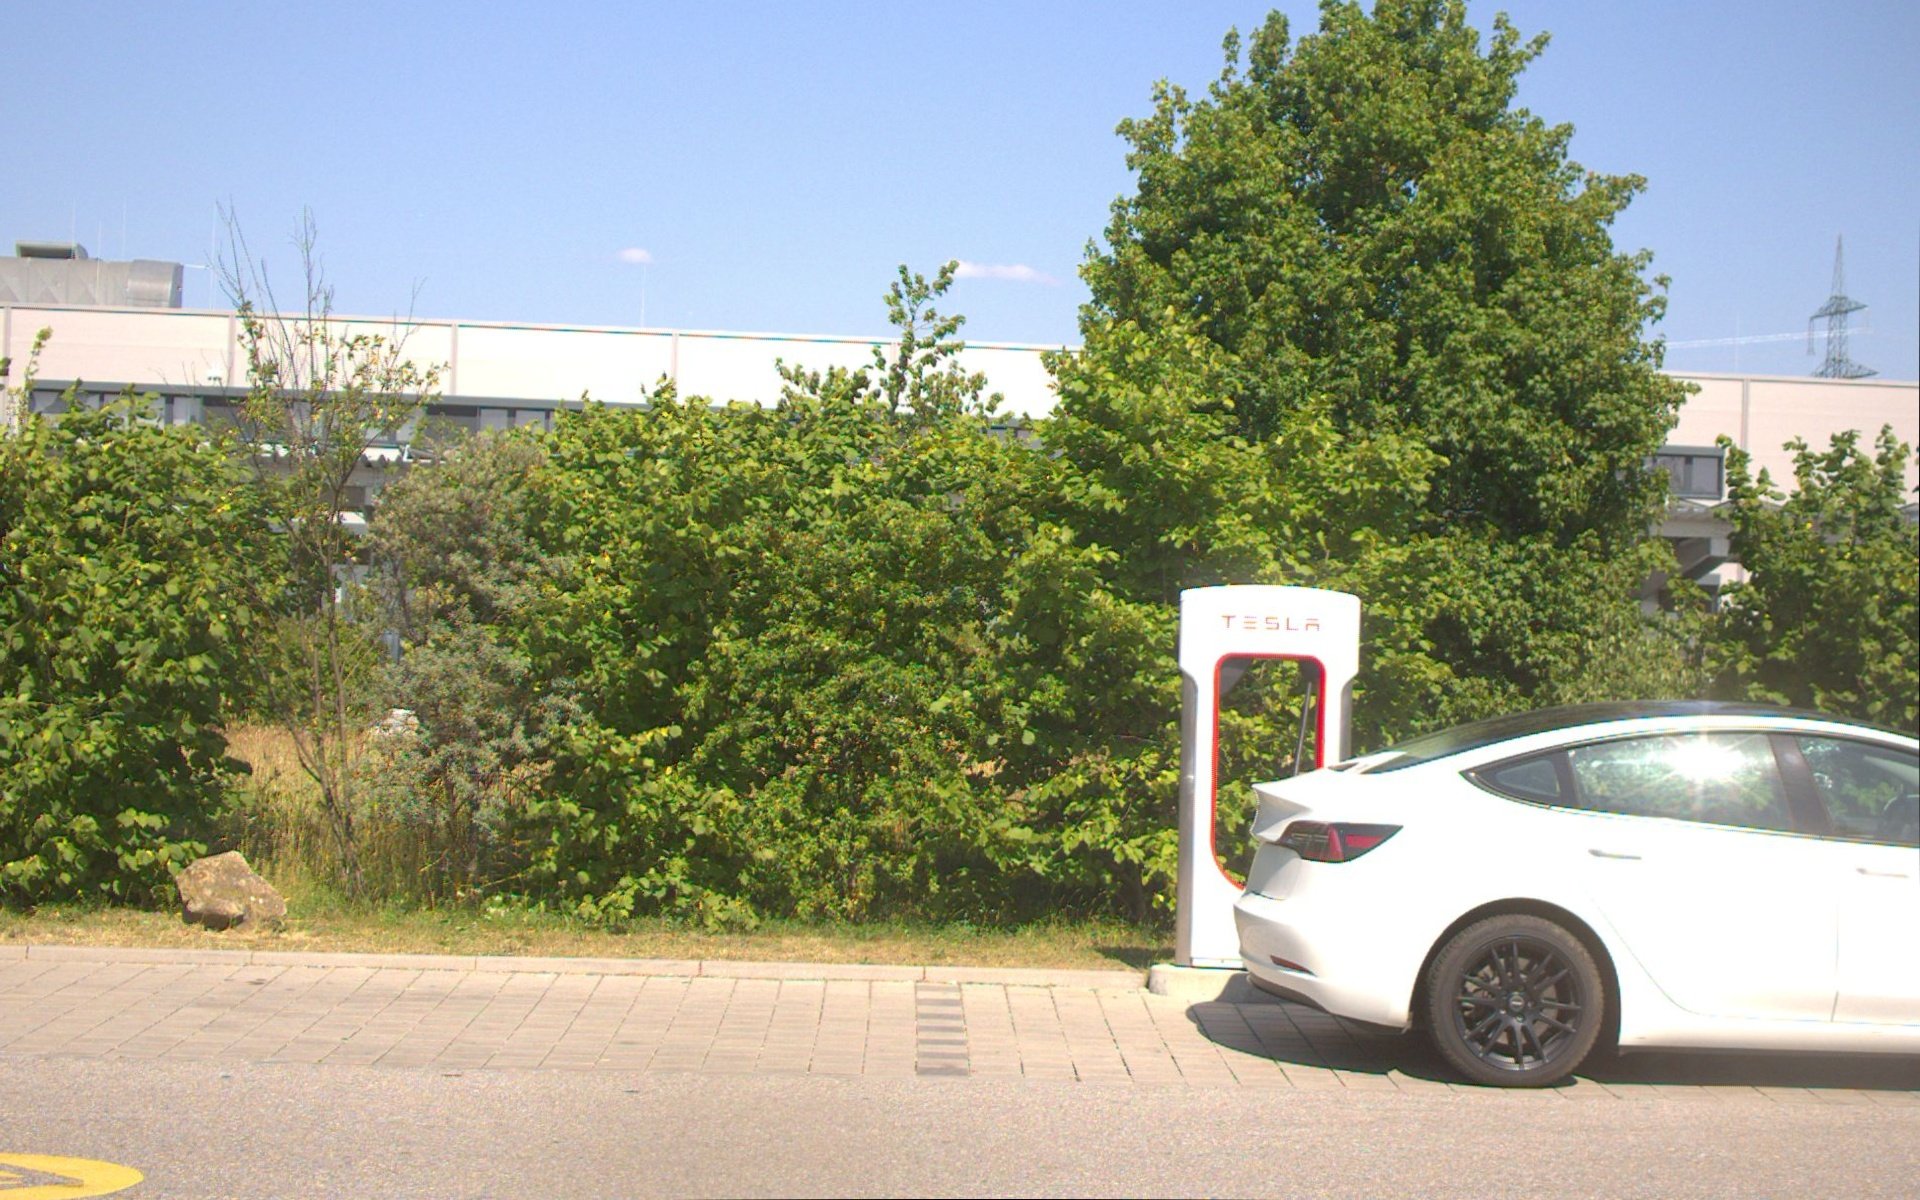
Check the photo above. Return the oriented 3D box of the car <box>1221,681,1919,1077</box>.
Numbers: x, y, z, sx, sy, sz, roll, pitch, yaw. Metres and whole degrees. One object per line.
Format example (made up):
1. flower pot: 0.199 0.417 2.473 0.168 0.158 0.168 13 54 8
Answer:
1. car: 3.356 1.078 13.612 4.434 1.373 1.822 1 -1 -1
